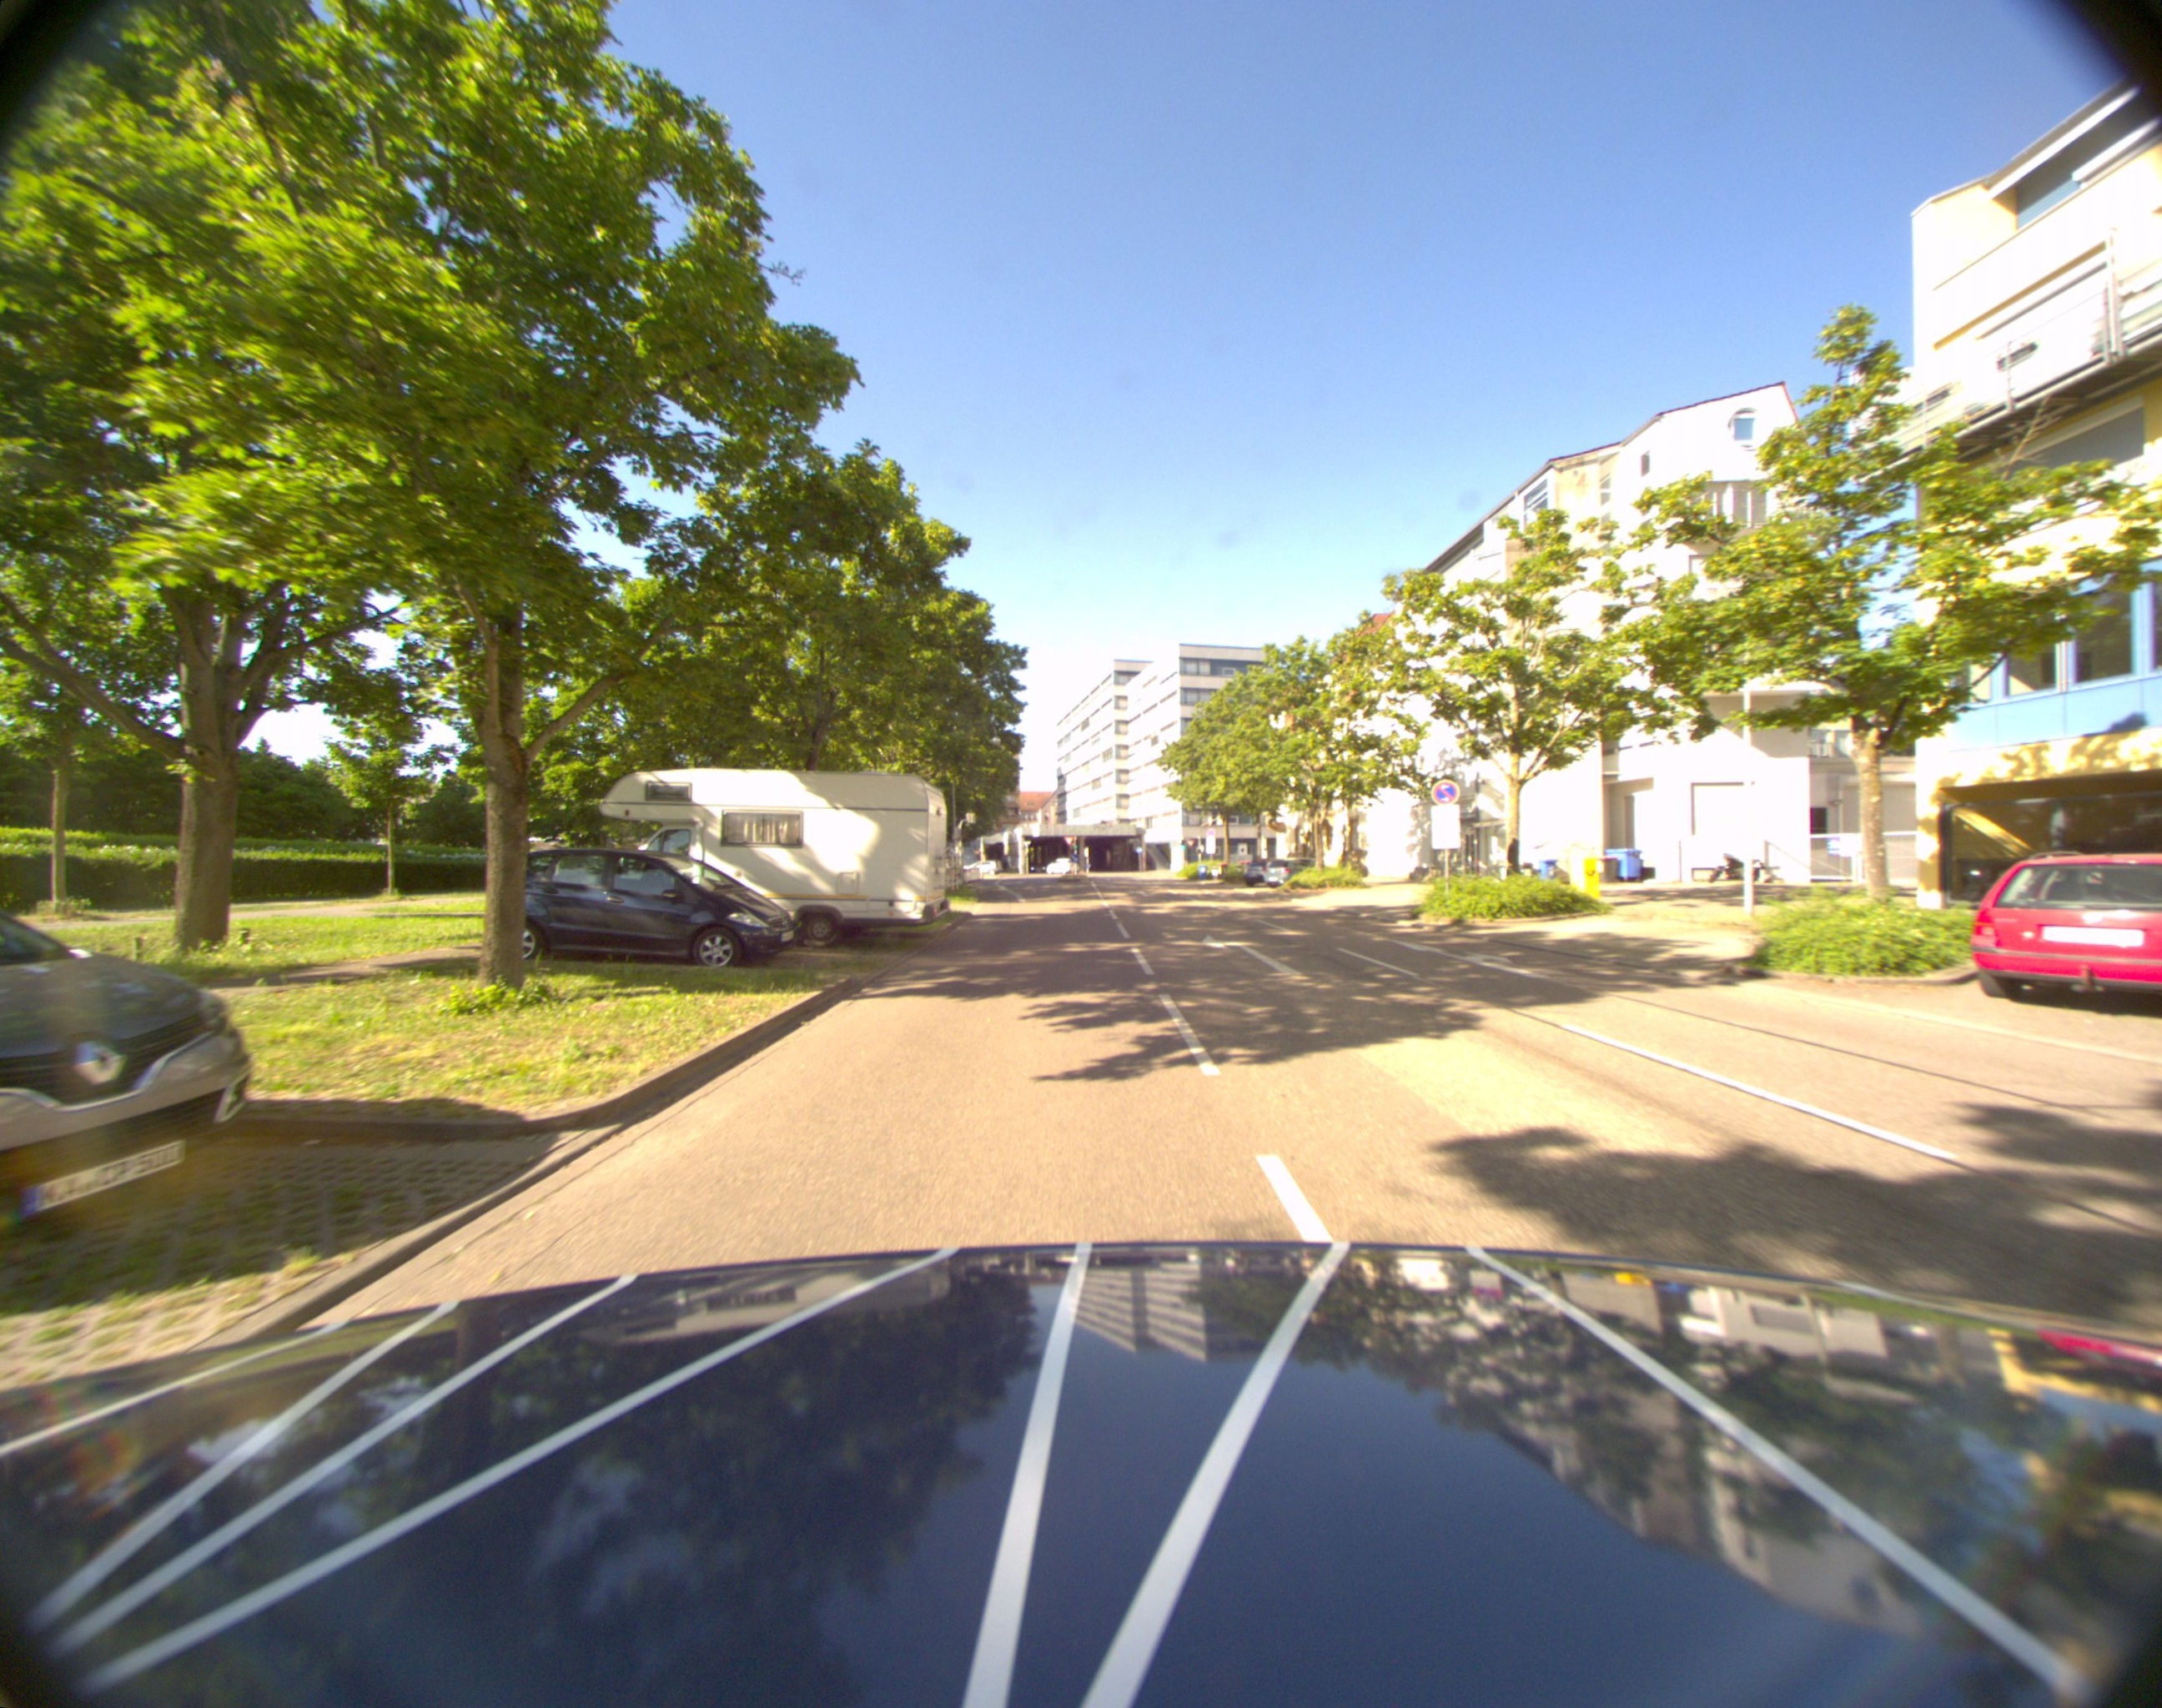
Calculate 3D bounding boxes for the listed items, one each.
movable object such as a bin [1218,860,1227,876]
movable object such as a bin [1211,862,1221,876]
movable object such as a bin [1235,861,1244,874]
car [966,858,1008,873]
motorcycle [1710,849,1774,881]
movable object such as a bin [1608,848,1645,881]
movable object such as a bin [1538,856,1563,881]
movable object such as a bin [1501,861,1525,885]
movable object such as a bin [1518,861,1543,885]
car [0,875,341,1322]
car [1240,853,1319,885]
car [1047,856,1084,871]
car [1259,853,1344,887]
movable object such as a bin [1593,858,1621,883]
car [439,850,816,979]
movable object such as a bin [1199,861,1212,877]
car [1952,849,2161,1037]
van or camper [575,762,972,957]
[{"bbox_3d":[9.754,0.962,52.335,0.476,1.035,0.543,-2,1,24],"label":"movable object such as a bin"},{"bbox_3d":[9.169,1.014,51.573,0.476,0.954,0.543,-2,1,24],"label":"movable object such as a bin"},{"bbox_3d":[11.053,0.941,52.889,0.476,0.938,0.543,0,1,24],"label":"movable object such as a bin"},{"bbox_3d":[-10.132,1.197,81.920,4.063,1.545,1.931,0,0,13],"label":"car"},{"bbox_3d":[24.293,0.405,27.940,1.917,1.127,0.526,0,1,-2],"label":"motorcycle"},{"bbox_3d":[21.642,0.407,30.175,0.622,1.272,1.120,0,0,-5],"label":"movable object such as a bin"},{"bbox_3d":[18.645,0.581,30.204,0.622,0.967,0.575,-1,1,-5],"label":"movable object such as a bin"},{"bbox_3d":[17.119,0.750,30.130,0.622,0.922,0.575,0,0,-5],"label":"movable object such as a bin"},{"bbox_3d":[17.865,0.761,30.199,0.622,0.922,0.575,0,0,-5],"label":"movable object such as a bin"},{"bbox_3d":[-6.024,0.867,3.083,4.204,1.537,1.859,2,0,1],"label":"car"},{"bbox_3d":[10.500,0.768,40.079,4.006,1.455,1.806,-3,1,-34],"label":"car"},{"bbox_3d":[-1.612,0.983,78.811,1.933,1.443,3.746,-1,0,-39],"label":"car"},{"bbox_3d":[10.810,0.751,37.143,4.006,1.455,1.806,-3,1,-34],"label":"car"},{"bbox_3d":[20.835,0.642,30.103,0.622,0.967,0.690,0,0,-5],"label":"movable object such as a bin"},{"bbox_3d":[-6.175,0.793,10.771,4.160,1.537,1.858,2,0,-3],"label":"car"},{"bbox_3d":[8.511,1.012,51.850,0.675,1.067,0.804,0,1,24],"label":"movable object such as a bin"},{"bbox_3d":[10.711,0.732,7.508,4.240,1.467,1.766,-2,0,-27],"label":"car"},{"bbox_3d":[-5.177,0.104,13.719,5.998,2.966,2.670,2,0,-2],"label":"van or camper"}]
